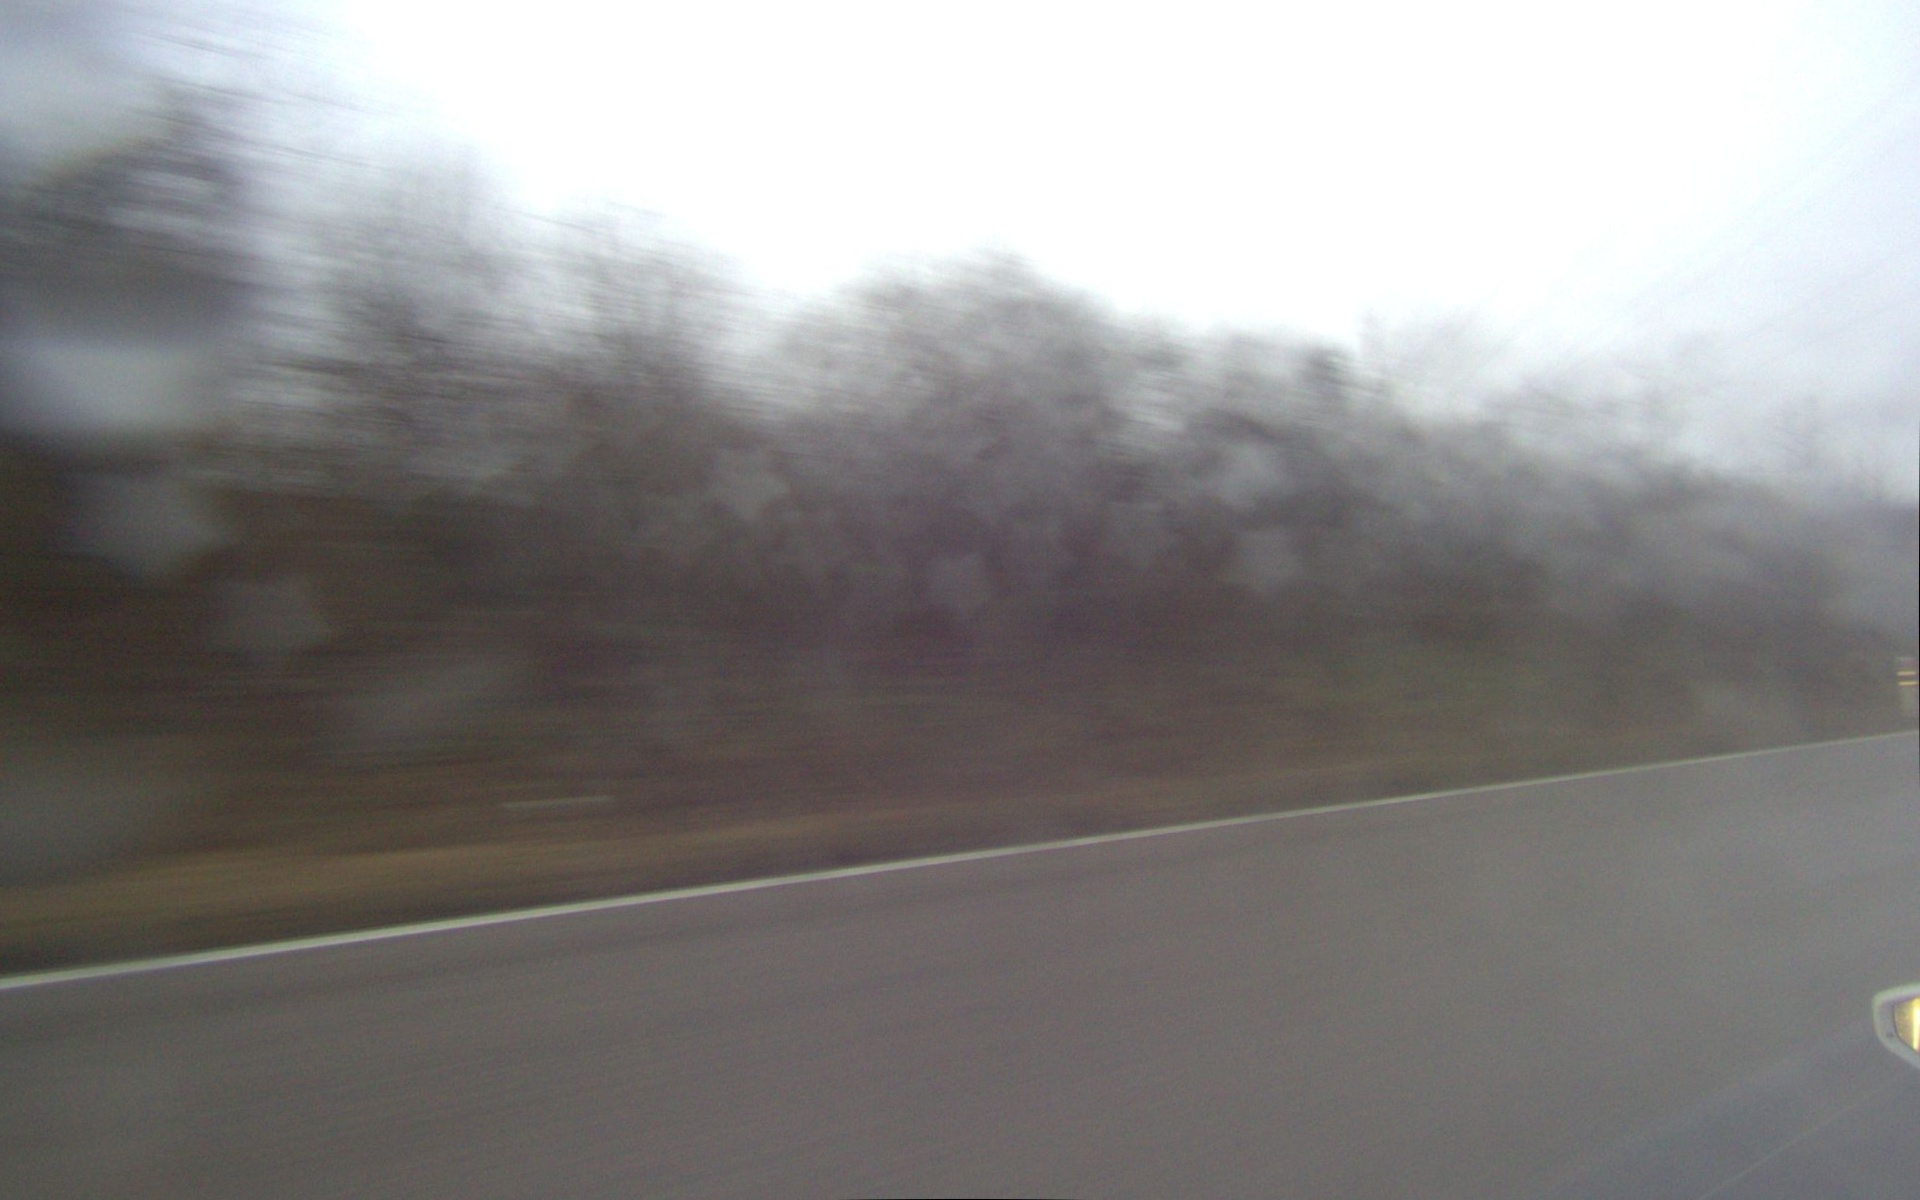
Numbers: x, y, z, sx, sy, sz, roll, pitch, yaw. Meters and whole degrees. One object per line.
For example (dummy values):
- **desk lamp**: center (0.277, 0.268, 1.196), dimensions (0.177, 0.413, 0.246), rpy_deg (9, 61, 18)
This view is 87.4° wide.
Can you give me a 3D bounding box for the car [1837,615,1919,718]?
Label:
- **car**: center (16.739, 1.109, 17.068), dimensions (3.731, 1.630, 1.767), rpy_deg (2, -2, -32)
